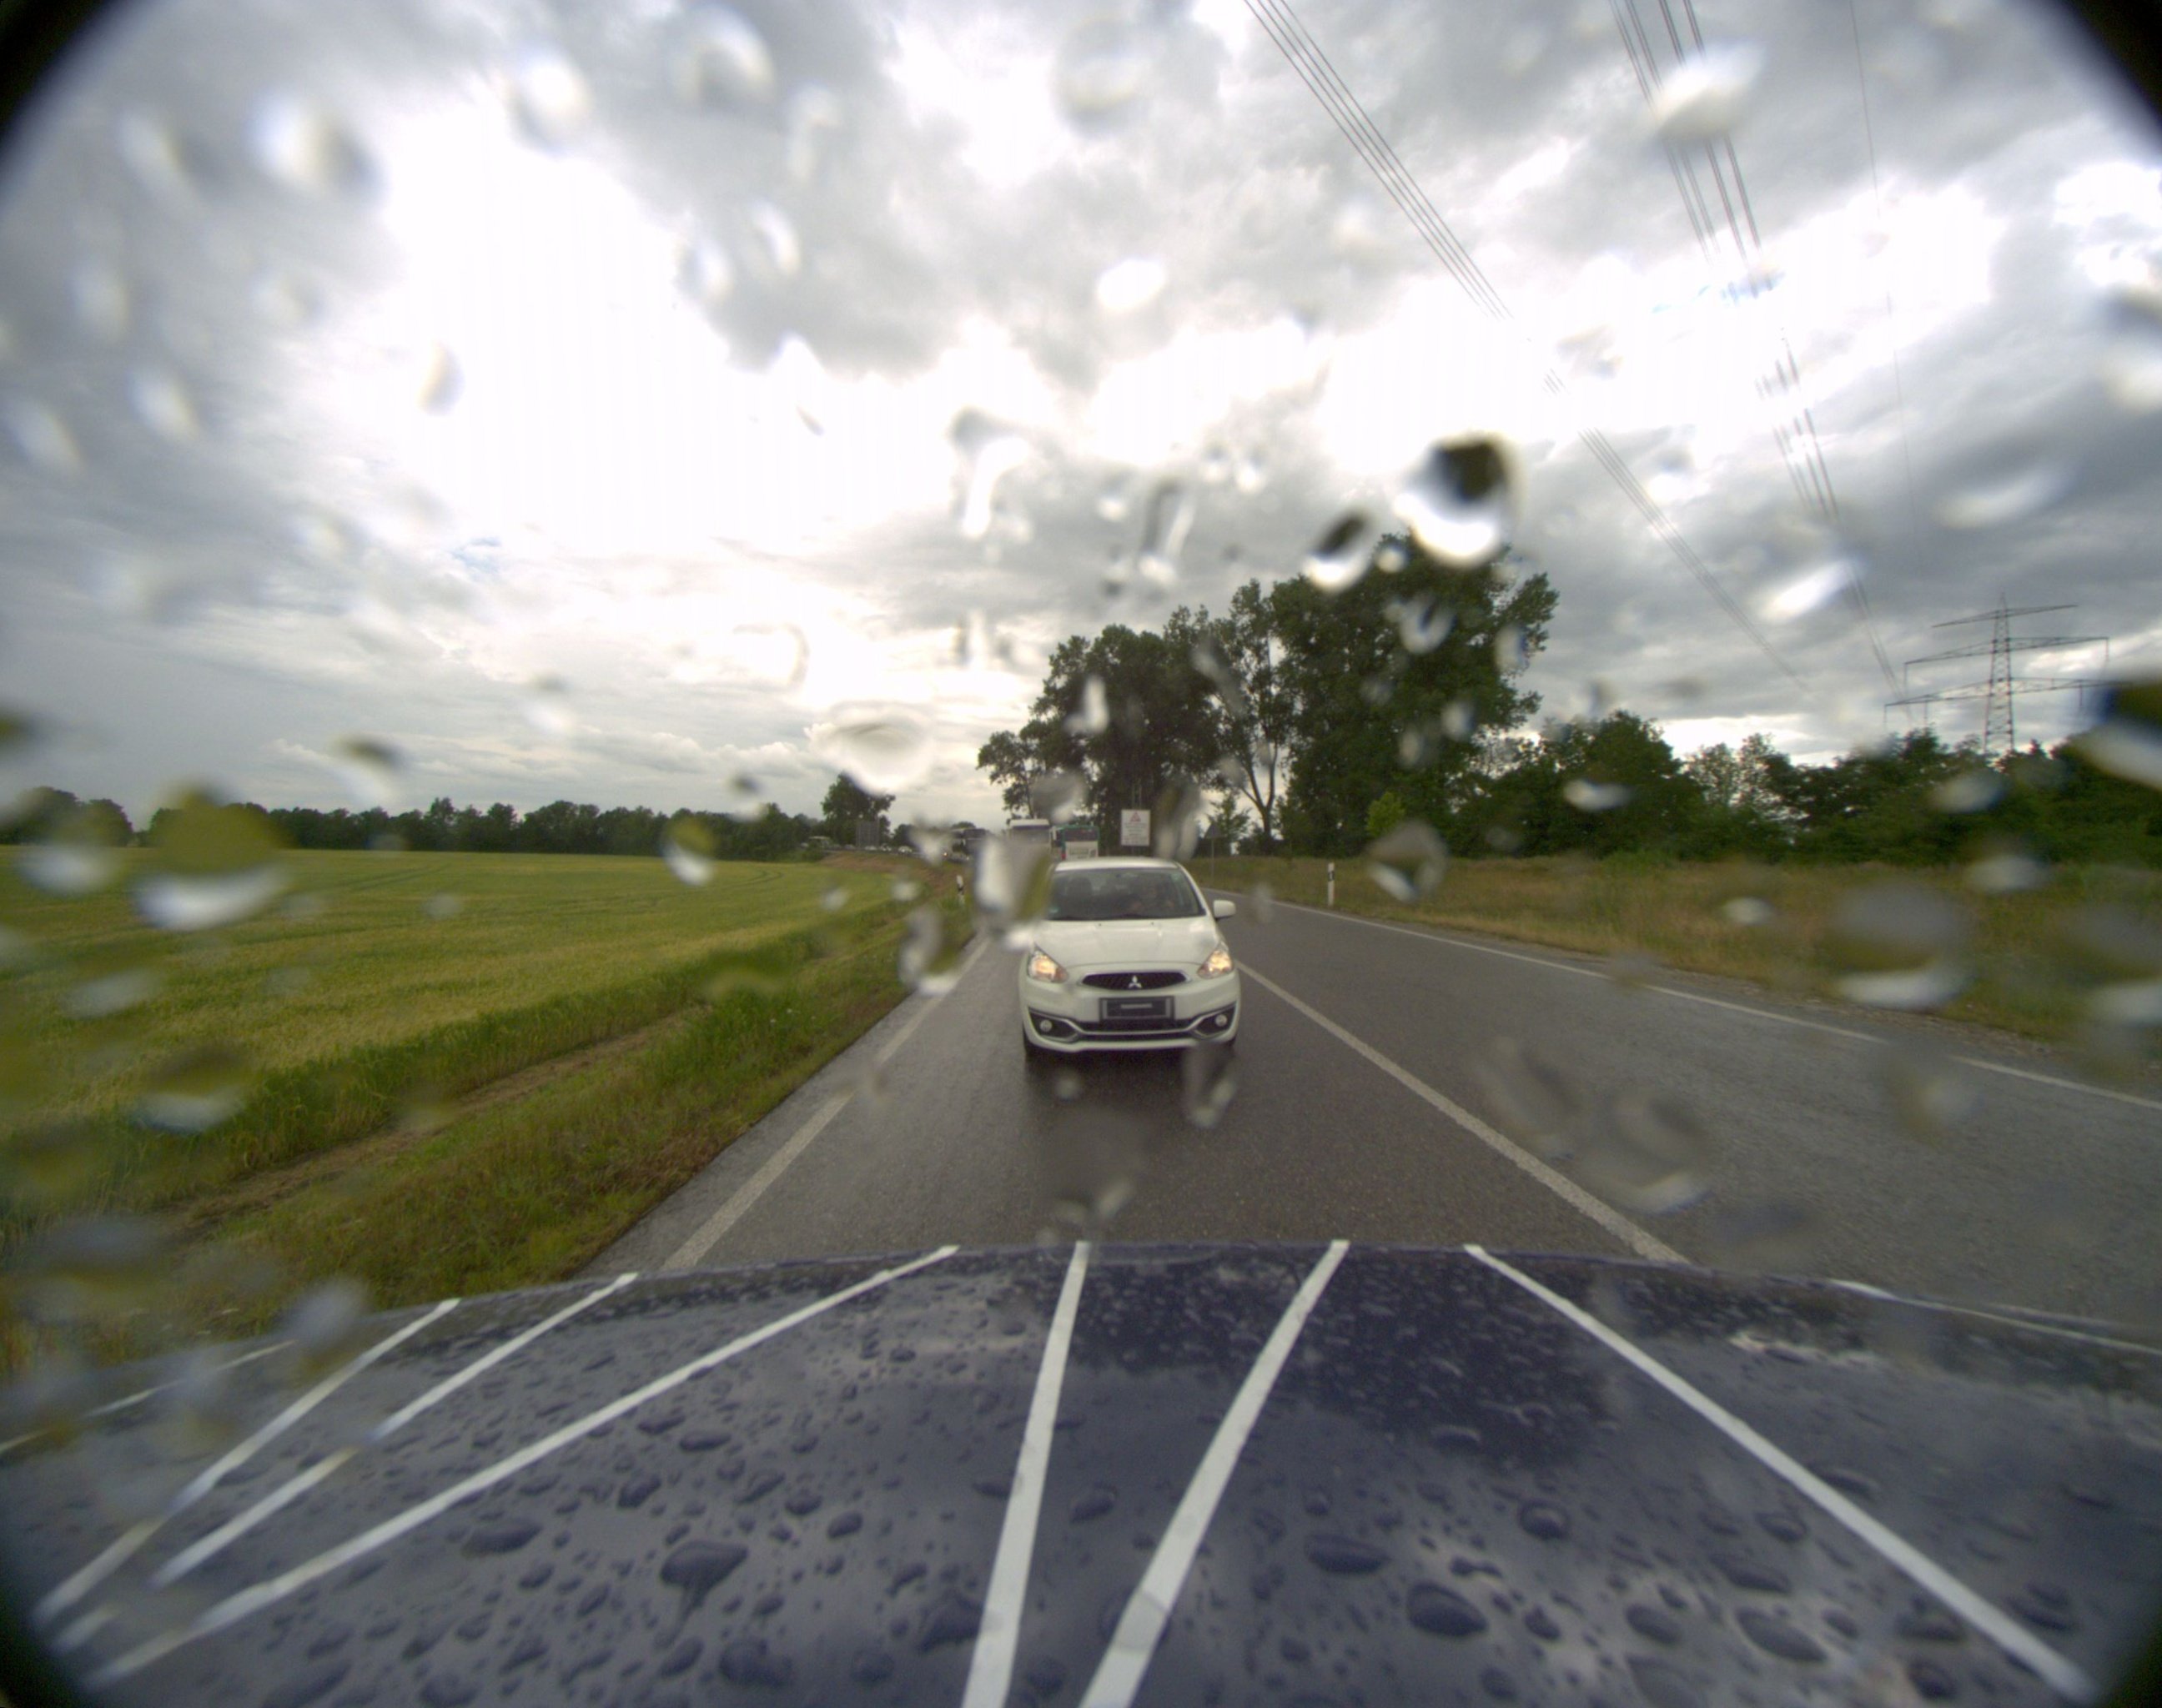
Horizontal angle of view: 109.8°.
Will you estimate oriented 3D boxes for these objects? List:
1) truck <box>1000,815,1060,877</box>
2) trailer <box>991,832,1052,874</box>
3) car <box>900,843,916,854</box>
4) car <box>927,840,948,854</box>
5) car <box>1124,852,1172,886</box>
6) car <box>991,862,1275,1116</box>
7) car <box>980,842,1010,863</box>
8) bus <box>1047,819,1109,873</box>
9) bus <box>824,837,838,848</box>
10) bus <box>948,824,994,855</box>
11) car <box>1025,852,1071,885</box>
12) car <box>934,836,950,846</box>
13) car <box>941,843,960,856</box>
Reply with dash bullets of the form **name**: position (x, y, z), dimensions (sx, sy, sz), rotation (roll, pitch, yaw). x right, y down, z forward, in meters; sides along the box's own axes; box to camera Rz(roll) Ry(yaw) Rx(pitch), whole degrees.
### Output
- **truck**: position (-3.308, -0.542, 47.773), dimensions (2.986, 3.590, 6.073), rotation (-2, 2, -10)
- **trailer**: position (-4.701, -0.240, 56.185), dimensions (2.986, 2.618, 15.664), rotation (-2, 2, -9)
- **car**: position (-31.764, -0.996, 139.359), dimensions (2.002, 2.002, 4.223), rotation (-3, 2, -23)
- **car**: position (-21.840, -1.028, 115.346), dimensions (2.002, 2.002, 5.325), rotation (-3, 2, -23)
- **car**: position (2.914, 0.611, 33.712), dimensions (1.723, 1.244, 3.998), rotation (-2, 2, 0)
- **car**: position (0.260, 0.847, 6.557), dimensions (1.653, 1.460, 4.030), rotation (-2, -1, -2)
- **car**: position (-8.256, -0.149, 72.877), dimensions (2.044, 1.832, 5.328), rotation (-3, 2, -15)
- **bus**: position (-0.479, -0.540, 54.047), dimensions (2.767, 3.279, 12.492), rotation (-2, 1, -7)
- **bus**: position (-68.976, -3.255, 209.623), dimensions (2.003, 2.899, 6.992), rotation (-3, 2, -31)
- **bus**: position (-13.382, -1.825, 91.163), dimensions (2.968, 3.294, 14.810), rotation (-3, 2, -18)
- **car**: position (-1.677, 0.648, 37.027), dimensions (1.782, 1.380, 4.324), rotation (-2, 2, -8)
- **car**: position (-28.759, -2.675, 157.300), dimensions (2.003, 2.002, 4.109), rotation (-3, 2, -30)
- **car**: position (-17.974, -0.642, 104.474), dimensions (1.816, 1.569, 3.992), rotation (-3, 2, -20)
